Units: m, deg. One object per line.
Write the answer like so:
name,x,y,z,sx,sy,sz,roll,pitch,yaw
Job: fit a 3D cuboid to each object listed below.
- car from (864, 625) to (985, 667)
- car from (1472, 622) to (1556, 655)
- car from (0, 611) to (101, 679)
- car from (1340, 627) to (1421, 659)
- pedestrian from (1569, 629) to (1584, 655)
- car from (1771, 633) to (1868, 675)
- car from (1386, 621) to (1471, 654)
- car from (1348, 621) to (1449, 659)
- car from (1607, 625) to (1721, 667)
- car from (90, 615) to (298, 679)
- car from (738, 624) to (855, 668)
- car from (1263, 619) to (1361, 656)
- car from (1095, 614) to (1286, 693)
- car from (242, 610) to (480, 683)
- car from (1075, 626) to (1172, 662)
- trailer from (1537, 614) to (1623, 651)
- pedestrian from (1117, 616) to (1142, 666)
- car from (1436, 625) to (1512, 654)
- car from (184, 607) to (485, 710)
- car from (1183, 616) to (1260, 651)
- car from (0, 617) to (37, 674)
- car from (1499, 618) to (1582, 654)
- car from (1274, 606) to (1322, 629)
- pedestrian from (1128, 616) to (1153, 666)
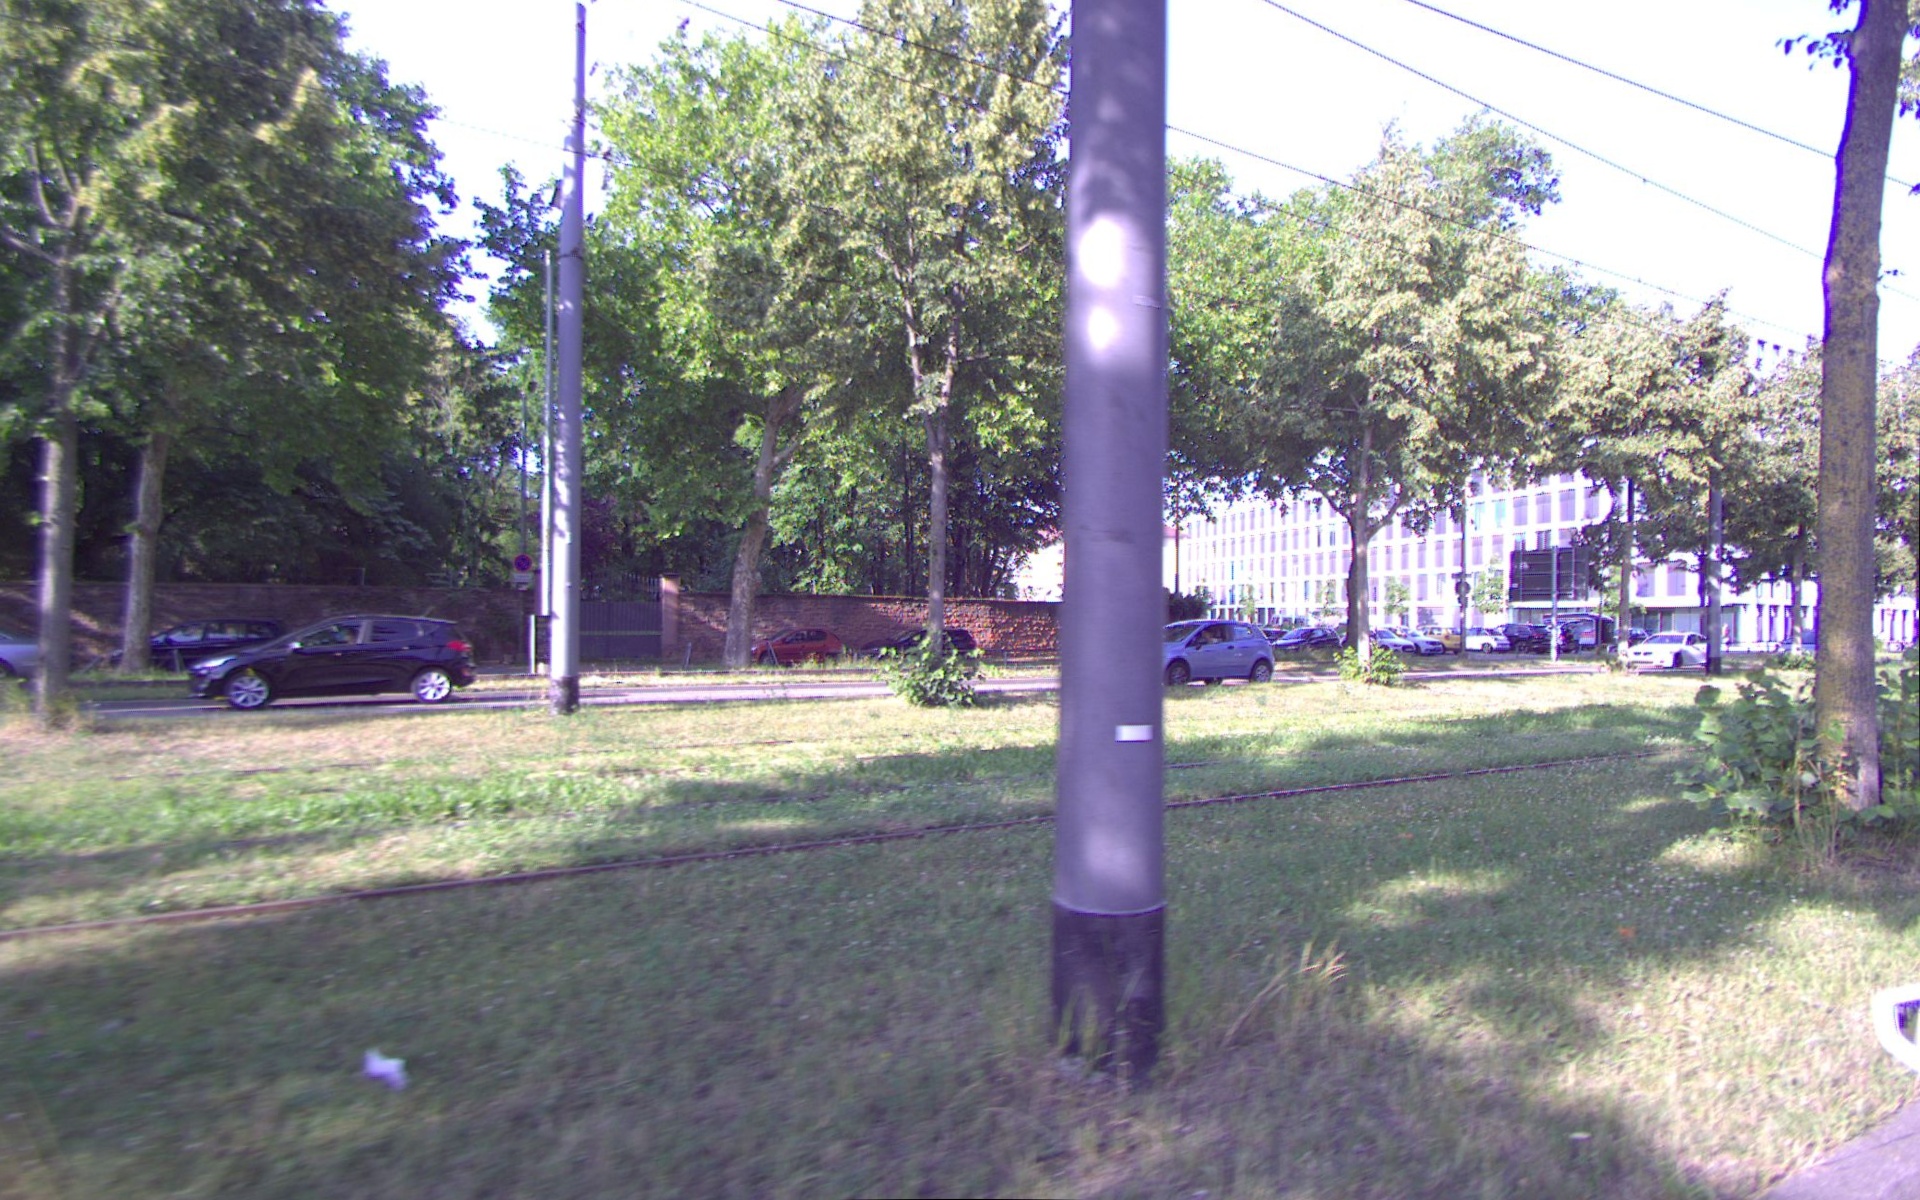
car,-1.361,1.767,38.829,4.307,1.461,1.779,2,1,-28
car,32.405,2.235,58.869,1.736,1.665,3.974,2,1,-29
car,-20.082,0.849,19.539,4.841,1.260,1.668,2,1,-29
car,22.048,2.240,52.803,1.786,1.447,3.633,2,1,-27
pedestrian,36.210,2.454,59.009,0.562,1.500,0.519,2,1,-31
car,31.683,1.989,37.008,3.653,1.411,1.575,2,1,-30
car,26.153,2.087,56.176,1.832,1.581,3.972,2,1,-27
car,23.898,2.137,54.958,1.861,1.758,5.040,2,1,-27
car,26.653,1.767,37.977,4.756,1.495,1.674,2,-3,-30
car,-21.539,1.320,28.513,4.420,1.633,1.822,2,1,-29
car,-5.987,1.669,36.727,3.863,1.461,1.711,2,1,-28
car,14.768,1.578,42.109,3.988,1.454,1.674,2,1,-30
car,5.121,1.162,22.141,4.084,1.552,1.603,2,1,-30
car,-13.351,1.028,22.669,4.420,1.450,1.822,2,1,-29
car,7.380,1.959,45.203,4.320,1.461,1.774,2,1,-36
trailer,39.496,2.033,64.105,1.735,2.081,4.349,2,1,-26
pedestrian,5.198,1.252,30.845,0.595,1.495,0.384,2,1,-31
car,29.830,2.281,58.346,1.705,1.444,3.551,2,1,-29
car,-10.069,0.925,16.485,3.988,1.454,1.674,2,1,-30
car,12.863,1.632,49.663,1.718,1.506,3.850,2,0,-22
car,-26.984,1.144,25.910,4.328,1.394,1.691,2,1,-27
car,35.075,2.156,60.763,1.736,1.973,3.974,2,1,-29
car,34.546,1.783,102.702,4.424,2.187,1.847,2,1,-18
pedestrian,5.475,1.235,30.473,0.595,1.495,0.384,2,1,-31
